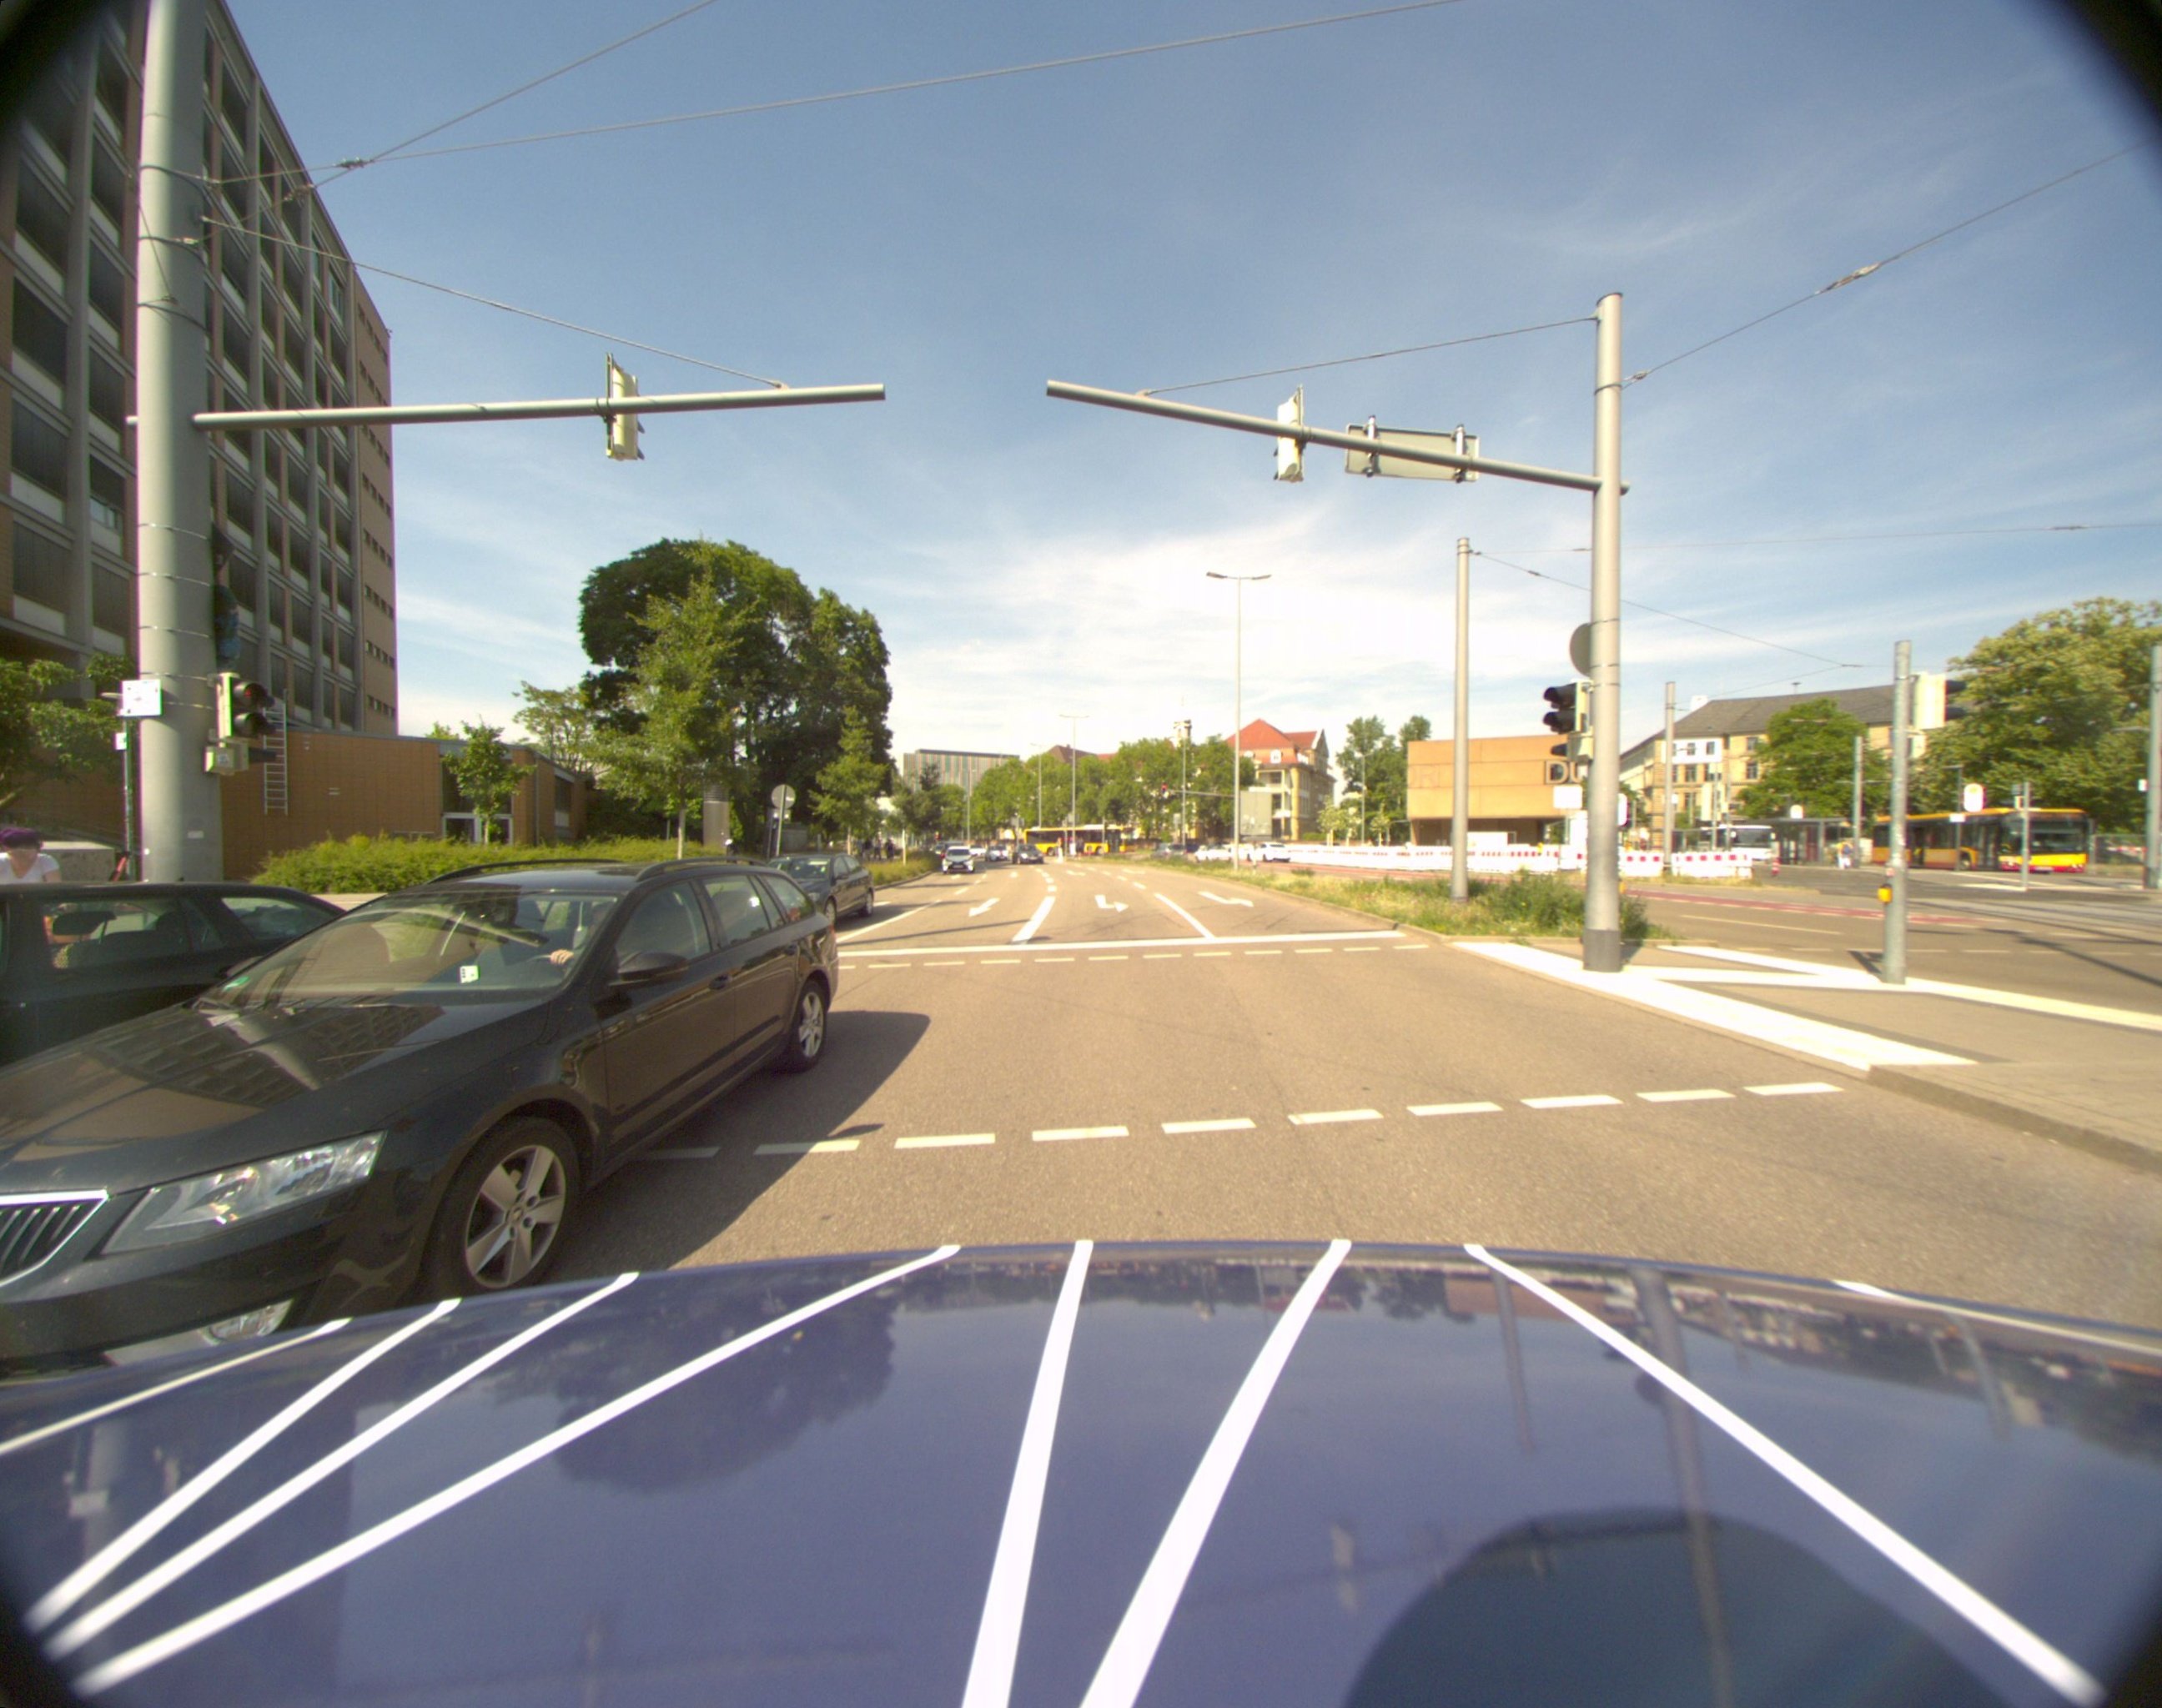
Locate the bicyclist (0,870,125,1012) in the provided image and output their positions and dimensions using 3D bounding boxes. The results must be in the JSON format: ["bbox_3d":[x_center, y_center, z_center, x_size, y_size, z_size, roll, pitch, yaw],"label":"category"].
[{"bbox_3d":[-8.560,0.680,6.295,0.913,1.023,0.718,4,3,34],"label":"bicyclist"}]

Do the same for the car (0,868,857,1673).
[{"bbox_3d":[-2.670,0.913,3.917,1.635,1.427,4.777,-1,2,-1],"label":"car"}]

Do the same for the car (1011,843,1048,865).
[{"bbox_3d":[-3.788,-0.045,55.123,1.653,1.416,4.112,-3,2,-19],"label":"car"}]

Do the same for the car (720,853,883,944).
[{"bbox_3d":[-5.392,0.762,15.335,1.635,1.427,4.527,-1,2,-1],"label":"car"}]

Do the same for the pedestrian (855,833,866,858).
[{"bbox_3d":[-16.819,-0.659,57.970,0.643,1.827,0.731,1,2,0],"label":"pedestrian"}]

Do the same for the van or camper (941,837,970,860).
[{"bbox_3d":[-10.960,-0.475,66.093,1.731,1.877,4.914,-3,2,-18],"label":"van or camper"}]

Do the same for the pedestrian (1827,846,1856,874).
[{"bbox_3d":[38.202,0.285,38.156,0.538,1.359,0.911,-2,2,0],"label":"pedestrian"}]

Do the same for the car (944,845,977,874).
[{"bbox_3d":[-6.639,0.269,41.961,1.683,1.466,3.756,-2,2,-8],"label":"car"}]

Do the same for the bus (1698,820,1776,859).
[{"bbox_3d":[59.883,-1.299,69.702,2.751,3.304,11.810,1,1,28],"label":"bus"}]

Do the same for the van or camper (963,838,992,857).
[{"bbox_3d":[-10.493,-0.647,76.779,1.922,1.877,4.913,-1,1,-19],"label":"van or camper"}]

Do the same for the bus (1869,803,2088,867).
[{"bbox_3d":[43.334,-1.023,37.394,2.751,2.668,11.807,-1,2,28],"label":"bus"}]

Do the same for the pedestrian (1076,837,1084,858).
[{"bbox_3d":[-0.043,-0.552,61.420,0.643,1.664,0.752,0,1,0],"label":"pedestrian"}]

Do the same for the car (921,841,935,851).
[{"bbox_3d":[-21.997,-1.185,108.955,1.492,1.287,3.480,-3,2,-19],"label":"car"}]

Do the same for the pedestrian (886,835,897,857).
[{"bbox_3d":[-14.674,-0.632,58.872,0.643,1.664,0.752,1,2,0],"label":"pedestrian"}]

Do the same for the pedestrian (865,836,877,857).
[{"bbox_3d":[-16.007,-0.574,57.925,0.643,1.618,0.731,1,2,0],"label":"pedestrian"}]

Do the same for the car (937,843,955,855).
[{"bbox_3d":[-14.085,-0.530,79.355,1.492,1.286,3.480,0,1,-16],"label":"car"}]

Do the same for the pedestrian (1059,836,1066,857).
[{"bbox_3d":[-1.492,-0.577,61.018,0.541,1.664,0.752,0,1,0],"label":"pedestrian"}]

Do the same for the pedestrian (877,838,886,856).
[{"bbox_3d":[-15.998,-0.578,60.957,0.644,1.439,0.568,1,2,-21],"label":"pedestrian"}]

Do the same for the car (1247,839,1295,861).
[{"bbox_3d":[13.528,-0.306,54.450,1.804,1.412,3.995,-2,2,-11],"label":"car"}]

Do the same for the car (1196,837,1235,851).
[{"bbox_3d":[15.266,-1.114,86.254,4.117,1.435,1.755,-3,2,-25],"label":"car"}]

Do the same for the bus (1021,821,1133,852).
[{"bbox_3d":[-0.550,-1.743,78.745,12.113,3.021,2.802,0,1,34],"label":"bus"}]

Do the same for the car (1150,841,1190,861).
[{"bbox_3d":[6.081,-0.253,52.527,1.600,1.279,3.995,-2,2,-11],"label":"car"}]

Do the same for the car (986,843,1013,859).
[{"bbox_3d":[-6.957,-0.258,64.712,1.492,1.287,3.479,-3,2,-19],"label":"car"}]

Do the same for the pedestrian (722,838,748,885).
[{"bbox_3d":[-12.563,0.258,27.629,0.592,1.655,0.731,1,2,0],"label":"pedestrian"}]

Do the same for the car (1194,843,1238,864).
[{"bbox_3d":[9.219,-0.084,52.179,1.600,1.279,3.995,-2,2,-11],"label":"car"}]

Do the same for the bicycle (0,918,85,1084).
[{"bbox_3d":[-8.656,1.128,6.075,1.913,1.010,0.718,3,3,34],"label":"bicycle"}]

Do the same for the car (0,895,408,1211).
[{"bbox_3d":[-6.056,1.031,3.580,1.704,1.421,4.399,-2,-1,2],"label":"car"}]

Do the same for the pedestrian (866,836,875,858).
[{"bbox_3d":[-16.805,-0.552,60.628,0.644,1.754,0.474,1,2,-21],"label":"pedestrian"}]
